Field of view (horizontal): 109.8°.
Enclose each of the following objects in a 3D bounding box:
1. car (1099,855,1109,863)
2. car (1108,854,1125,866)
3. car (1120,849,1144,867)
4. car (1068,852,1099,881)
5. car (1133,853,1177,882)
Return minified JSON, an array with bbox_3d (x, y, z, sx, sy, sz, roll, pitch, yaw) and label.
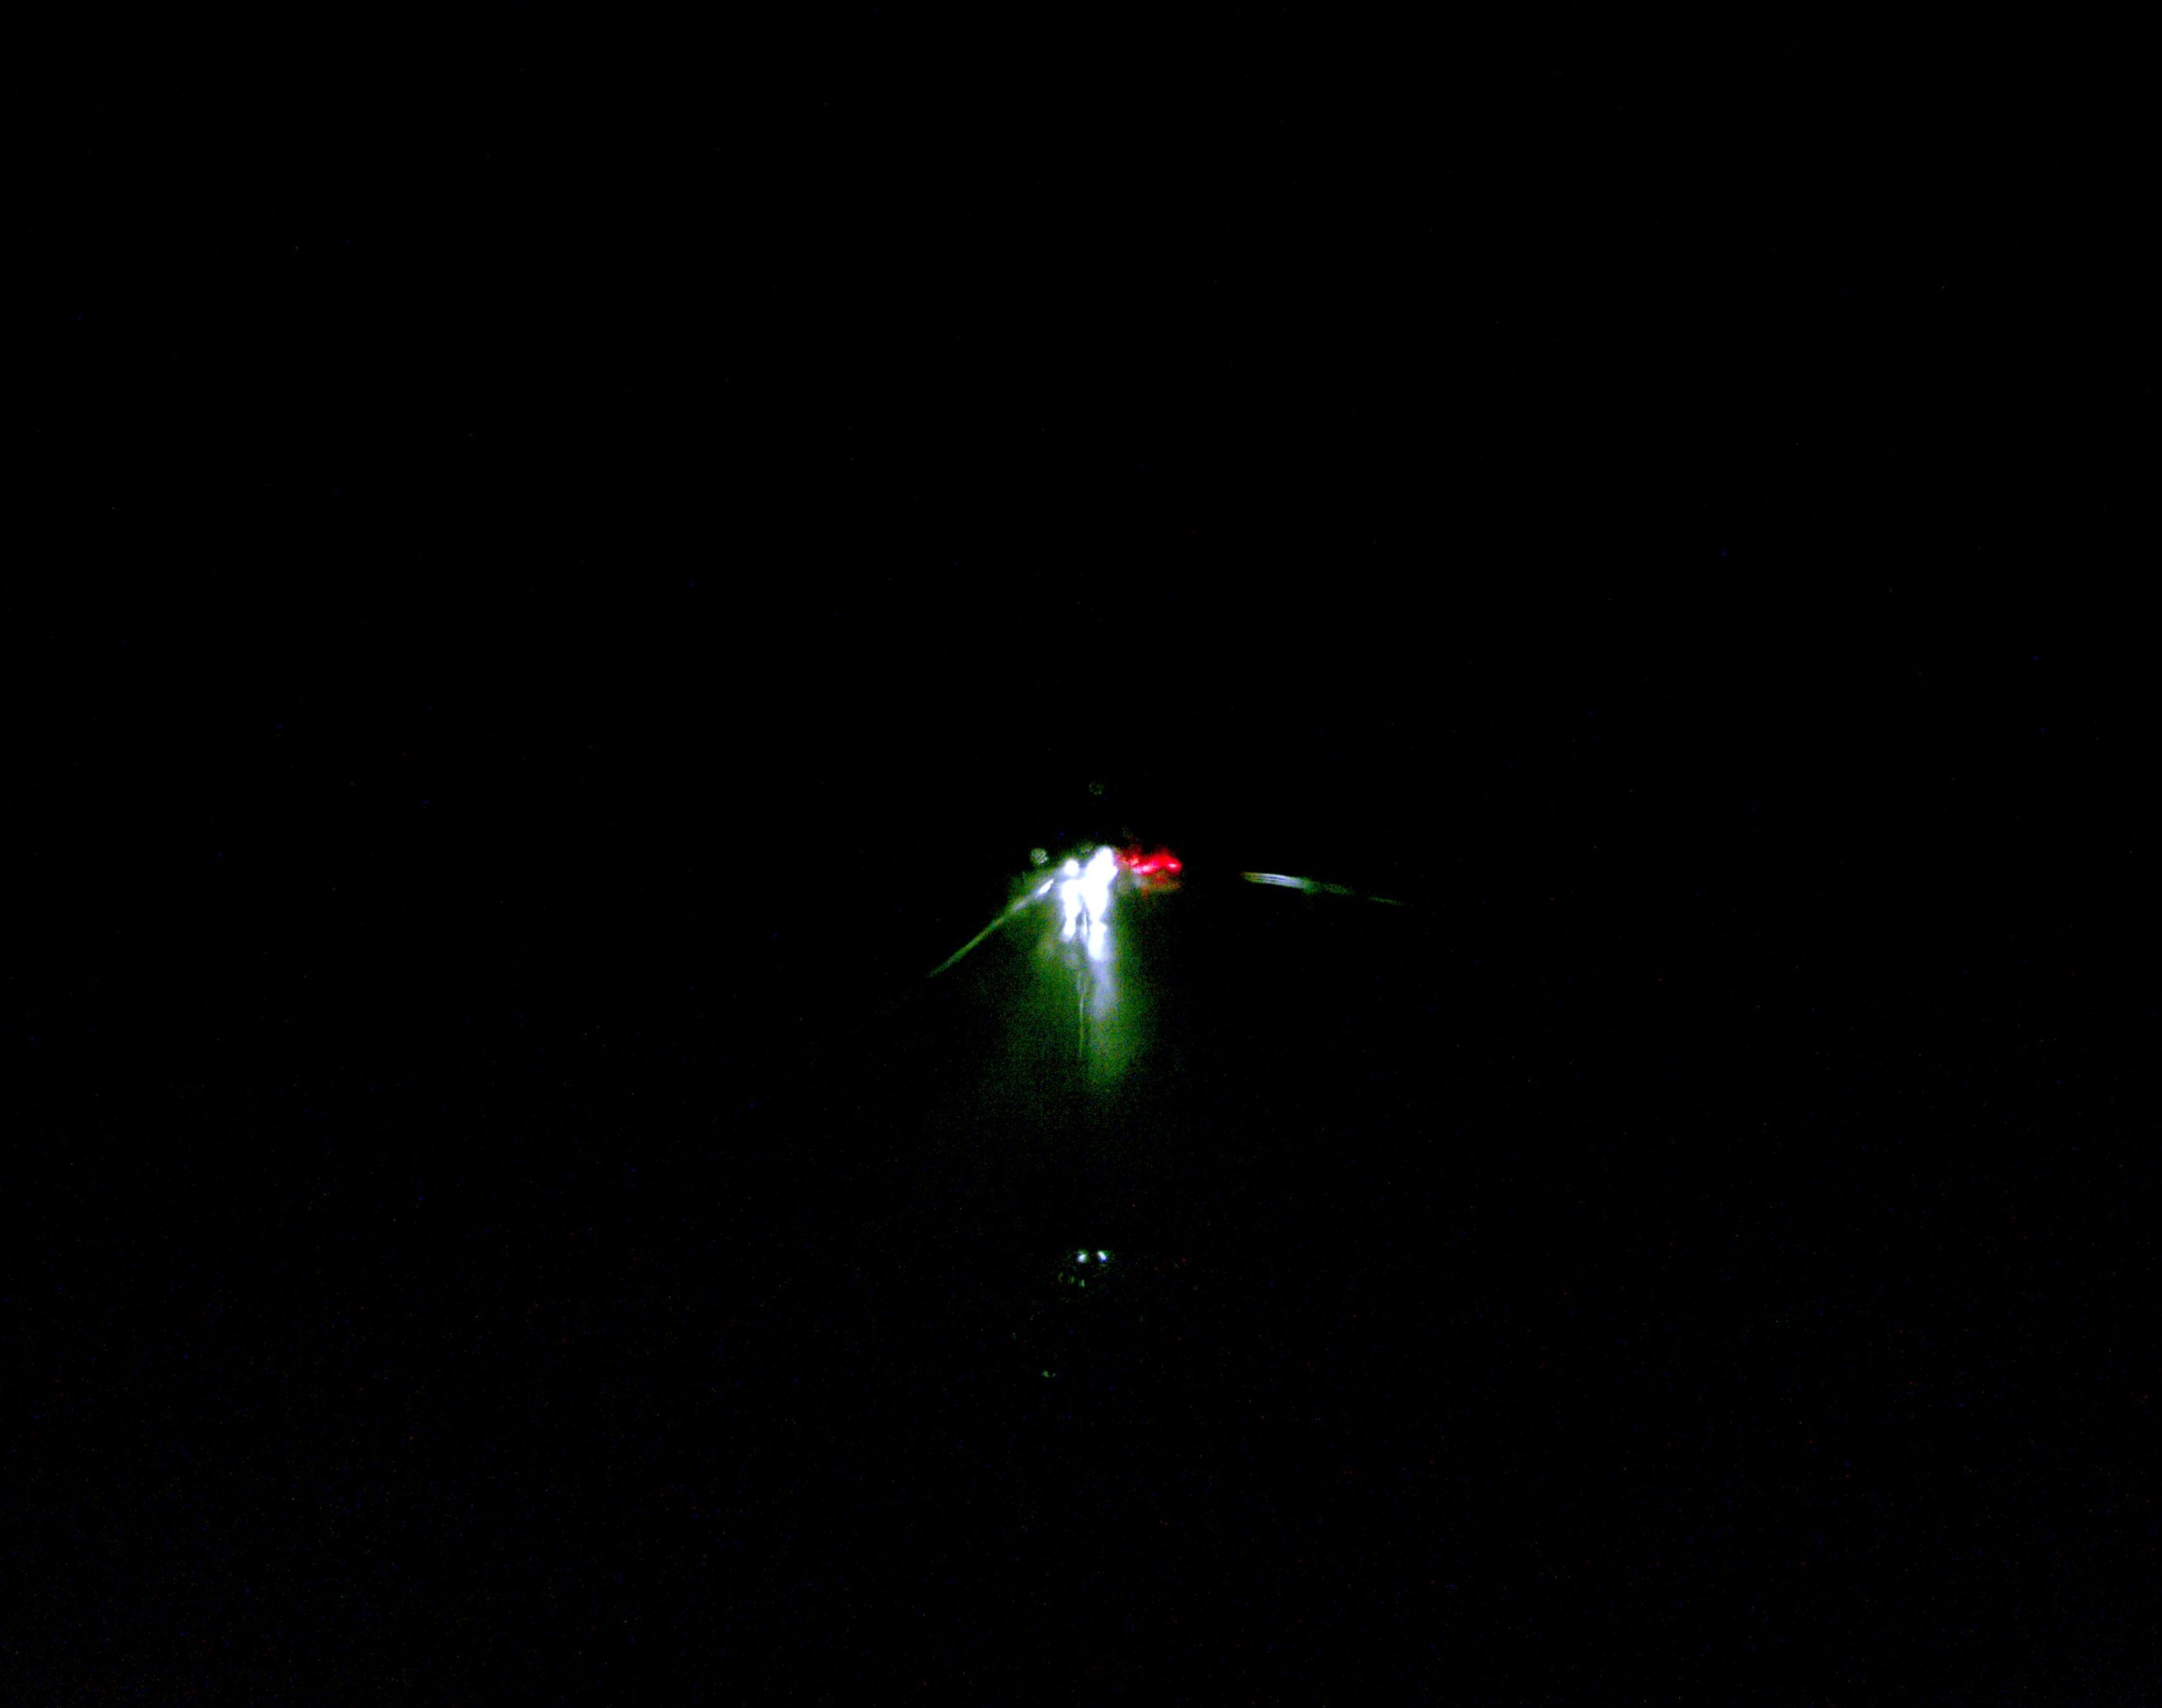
[{"bbox_3d":[4.082,0.881,134.582,1.720,1.462,3.708,0,0,0],"label":"car"},{"bbox_3d":[4.284,0.715,92.265,1.833,1.447,3.793,0,-1,0],"label":"car"},{"bbox_3d":[4.600,0.401,68.794,1.936,1.577,4.001,0,-1,1],"label":"car"},{"bbox_3d":[0.172,0.830,51.210,1.998,1.805,4.000,-1,0,1],"label":"car"},{"bbox_3d":[3.880,0.671,40.429,1.841,1.462,4.391,-1,0,-1],"label":"car"}]
